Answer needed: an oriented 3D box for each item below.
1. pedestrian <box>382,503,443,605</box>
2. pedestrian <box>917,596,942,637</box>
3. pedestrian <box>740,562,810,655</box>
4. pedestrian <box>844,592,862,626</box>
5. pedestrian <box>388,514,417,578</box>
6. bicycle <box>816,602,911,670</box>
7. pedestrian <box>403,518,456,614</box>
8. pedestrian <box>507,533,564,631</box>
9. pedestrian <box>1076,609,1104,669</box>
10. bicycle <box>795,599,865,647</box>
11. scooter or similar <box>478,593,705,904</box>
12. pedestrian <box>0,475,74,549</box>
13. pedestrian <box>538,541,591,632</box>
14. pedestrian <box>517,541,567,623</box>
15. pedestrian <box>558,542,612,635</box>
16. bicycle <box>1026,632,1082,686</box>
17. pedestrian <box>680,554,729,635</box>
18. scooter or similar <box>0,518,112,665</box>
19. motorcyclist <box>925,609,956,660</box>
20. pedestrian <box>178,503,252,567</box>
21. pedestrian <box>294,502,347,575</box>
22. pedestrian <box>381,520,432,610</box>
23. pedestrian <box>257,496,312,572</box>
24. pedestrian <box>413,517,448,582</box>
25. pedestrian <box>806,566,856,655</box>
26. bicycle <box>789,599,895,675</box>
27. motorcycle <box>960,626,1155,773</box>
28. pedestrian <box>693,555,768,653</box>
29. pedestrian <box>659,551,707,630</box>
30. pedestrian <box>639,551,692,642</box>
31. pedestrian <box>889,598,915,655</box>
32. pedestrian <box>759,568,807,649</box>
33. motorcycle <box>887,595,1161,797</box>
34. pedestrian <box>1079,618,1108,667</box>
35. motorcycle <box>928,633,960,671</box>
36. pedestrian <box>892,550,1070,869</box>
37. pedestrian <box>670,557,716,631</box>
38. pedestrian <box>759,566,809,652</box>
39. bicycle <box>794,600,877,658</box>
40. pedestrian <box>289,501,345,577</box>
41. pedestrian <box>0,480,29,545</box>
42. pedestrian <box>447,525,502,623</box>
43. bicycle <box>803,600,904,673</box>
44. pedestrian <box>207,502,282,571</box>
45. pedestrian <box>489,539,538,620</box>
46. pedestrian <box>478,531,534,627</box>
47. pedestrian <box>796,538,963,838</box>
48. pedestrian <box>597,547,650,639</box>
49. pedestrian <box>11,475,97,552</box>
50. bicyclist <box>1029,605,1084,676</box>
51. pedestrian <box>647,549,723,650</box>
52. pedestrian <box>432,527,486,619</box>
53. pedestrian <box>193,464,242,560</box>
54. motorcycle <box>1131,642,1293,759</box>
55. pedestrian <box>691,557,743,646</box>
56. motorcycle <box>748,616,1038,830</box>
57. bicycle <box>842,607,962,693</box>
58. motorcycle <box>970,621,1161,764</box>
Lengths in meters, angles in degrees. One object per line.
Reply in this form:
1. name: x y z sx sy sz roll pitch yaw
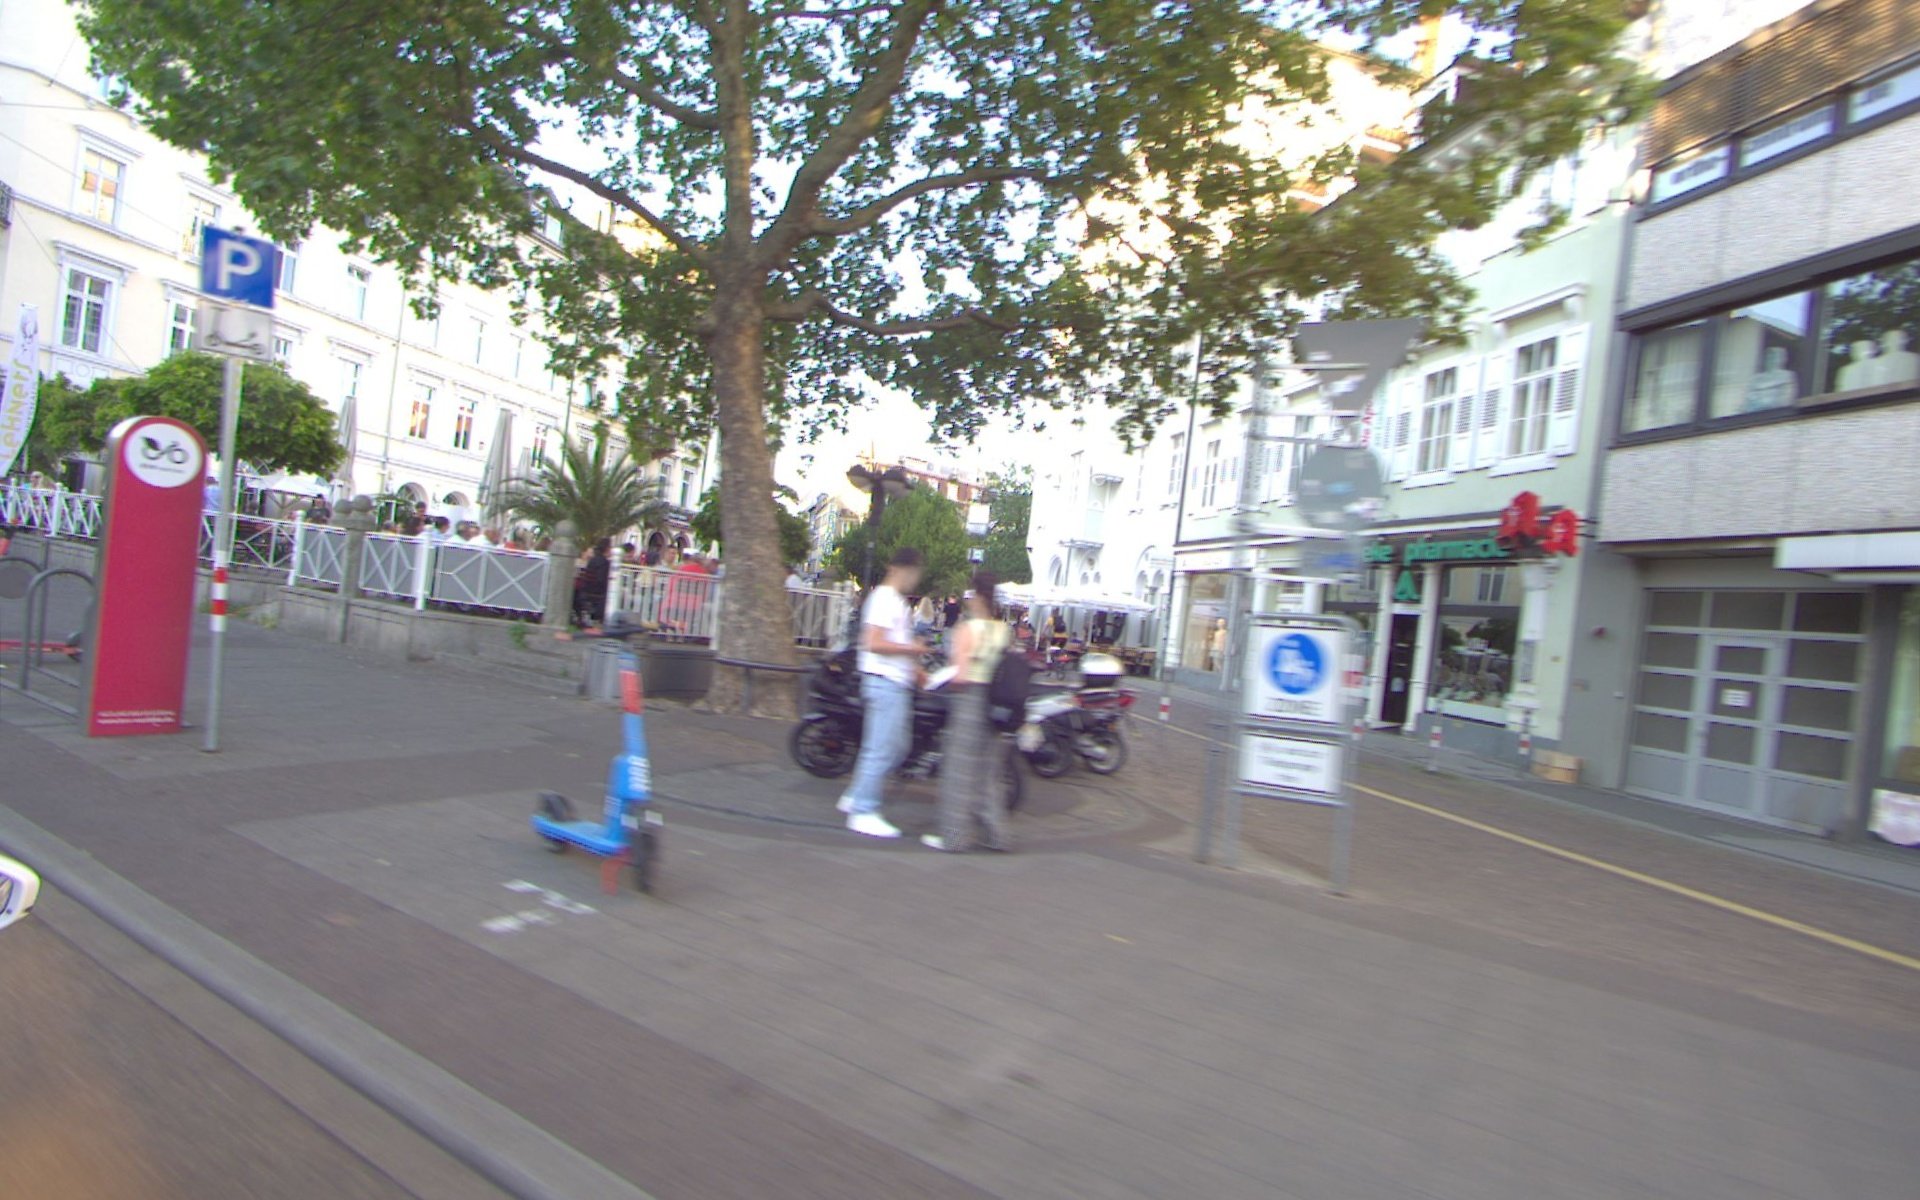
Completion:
1. pedestrian: -9.051 -0.760 16.637 0.617 1.590 0.623 6 -1 -44
2. pedestrian: -1.438 0.774 47.243 0.752 1.854 0.670 5 0 41
3. pedestrian: -2.775 0.123 15.075 0.642 1.300 0.732 6 -1 -42
4. pedestrian: -6.037 0.509 56.878 0.688 1.888 0.760 5 0 -18
5. pedestrian: -14.180 -1.367 25.586 0.507 1.567 0.573 6 0 -33
6. bicycle: -2.290 0.856 23.995 2.080 1.307 0.442 9 1 -4
7. pedestrian: -8.013 -0.516 15.190 0.472 1.380 0.533 6 0 -44
8. pedestrian: -5.914 -0.252 14.006 0.472 1.300 0.533 6 -1 -44
9. pedestrian: 4.100 1.231 31.640 0.564 1.808 0.624 5 0 23
10. bicycle: -4.212 0.755 32.738 2.090 1.307 0.440 8 0 -24
11. scooter or similar: -1.794 0.645 4.809 1.253 1.237 0.314 7 1 39
12. pedestrian: -18.382 -1.735 19.935 0.951 1.322 0.904 5 -1 31
13. pedestrian: -5.959 -0.206 15.147 0.472 1.300 0.533 6 -1 -44
14. pedestrian: -6.666 -0.289 16.041 0.472 1.257 0.533 6 -1 -44
15. pedestrian: -5.490 -0.170 14.720 0.472 1.300 0.534 6 0 -42
16. bicycle: 2.392 1.493 25.880 0.641 1.226 2.192 7 -2 -13
17. pedestrian: -4.346 -0.094 17.124 0.469 1.300 0.537 5 -1 41
18. scooter or similar: -8.141 -0.068 8.699 0.295 1.231 1.125 8 1 33
19. motorcyclist: -0.582 1.051 30.553 0.592 1.458 0.599 6 -1 -30
20. pedestrian: -16.526 -1.437 22.326 0.890 1.282 0.965 5 -1 31
21. pedestrian: -15.558 -1.494 24.479 0.649 1.663 0.758 5 -1 34
22. pedestrian: -8.535 -0.536 15.510 0.472 1.321 0.533 6 -1 -44
23. pedestrian: -15.889 -1.543 23.677 0.649 1.663 0.758 5 -1 33
24. pedestrian: -14.826 -1.396 28.175 0.567 1.733 0.512 5 0 0
25. pedestrian: -2.125 0.171 16.565 0.472 1.416 0.534 6 0 -42
26. bicycle: -2.507 0.791 21.494 2.080 1.308 0.442 9 2 -4
27. motorcycle: 0.980 0.986 10.194 1.764 1.164 0.553 9 0 5
28. pedestrian: -3.227 0.052 14.144 0.642 1.300 0.732 6 -1 -42
29. pedestrian: -4.820 -0.164 17.502 0.469 1.300 0.537 5 -1 41
30. pedestrian: -4.402 -0.052 15.034 0.472 1.300 0.534 6 0 -42
31. pedestrian: -1.708 0.775 29.587 0.528 1.631 0.602 5 0 -10
32. pedestrian: -2.983 0.142 16.983 0.472 1.300 0.534 6 0 -42
33. motorcycle: 0.579 0.856 9.249 2.254 1.440 0.566 9 0 5
34. pedestrian: 4.559 1.444 34.347 0.750 1.615 0.617 5 0 1
35. motorcycle: -0.498 1.577 30.571 0.344 1.046 1.576 5 -1 -22
36. pedestrian: 0.133 0.619 5.991 0.644 1.738 0.679 5 0 34
37. pedestrian: -4.904 -0.110 18.489 0.469 1.300 0.537 5 -1 41
38. pedestrian: -2.818 0.144 16.080 0.472 1.300 0.534 6 0 -42
39. bicycle: -3.401 0.799 27.553 2.090 1.307 0.440 8 -1 -24
40. pedestrian: -14.959 -1.412 23.414 0.648 1.663 0.758 5 0 32
41. pedestrian: -20.437 -1.878 21.263 0.855 1.322 0.824 5 -1 31
42. pedestrian: -7.014 -0.375 14.527 0.472 1.346 0.533 6 0 -44
43. bicycle: -2.373 0.812 22.595 2.080 1.308 0.442 9 2 -4
44. pedestrian: -15.444 -1.364 21.724 0.890 1.352 0.965 5 -1 31
45. pedestrian: -7.232 -0.330 16.302 0.472 1.257 0.533 6 -1 -44
46. pedestrian: -6.453 -0.298 14.300 0.472 1.300 0.533 6 -1 -44
47. pedestrian: -0.496 0.525 6.300 0.651 1.738 0.614 5 0 34
48. pedestrian: -4.977 -0.109 14.871 0.475 1.300 0.519 6 0 -41
49. pedestrian: -17.433 -1.653 19.364 0.951 1.330 0.904 5 -1 31
50. bicyclist: 2.461 1.040 25.800 0.977 1.671 0.997 7 -2 -14
51. pedestrian: -3.755 -0.008 13.739 0.642 1.300 0.732 6 -1 -42
52. pedestrian: -7.436 -0.398 14.932 0.472 1.300 0.533 6 -1 -44
53. pedestrian: -19.028 -2.245 25.791 0.569 2.332 0.615 5 0 10
54. motorcycle: 3.401 1.352 13.636 1.923 1.297 0.562 8 0 -6
55. pedestrian: -3.707 0.023 15.348 0.472 1.300 0.534 6 0 -42
56. motorcycle: -0.515 0.820 7.175 1.995 1.172 0.456 7 1 28
57. bicycle: -1.102 0.946 19.088 2.080 1.307 0.442 9 1 -4
58. motorcycle: 1.159 1.004 11.170 1.920 1.297 0.563 7 0 5
